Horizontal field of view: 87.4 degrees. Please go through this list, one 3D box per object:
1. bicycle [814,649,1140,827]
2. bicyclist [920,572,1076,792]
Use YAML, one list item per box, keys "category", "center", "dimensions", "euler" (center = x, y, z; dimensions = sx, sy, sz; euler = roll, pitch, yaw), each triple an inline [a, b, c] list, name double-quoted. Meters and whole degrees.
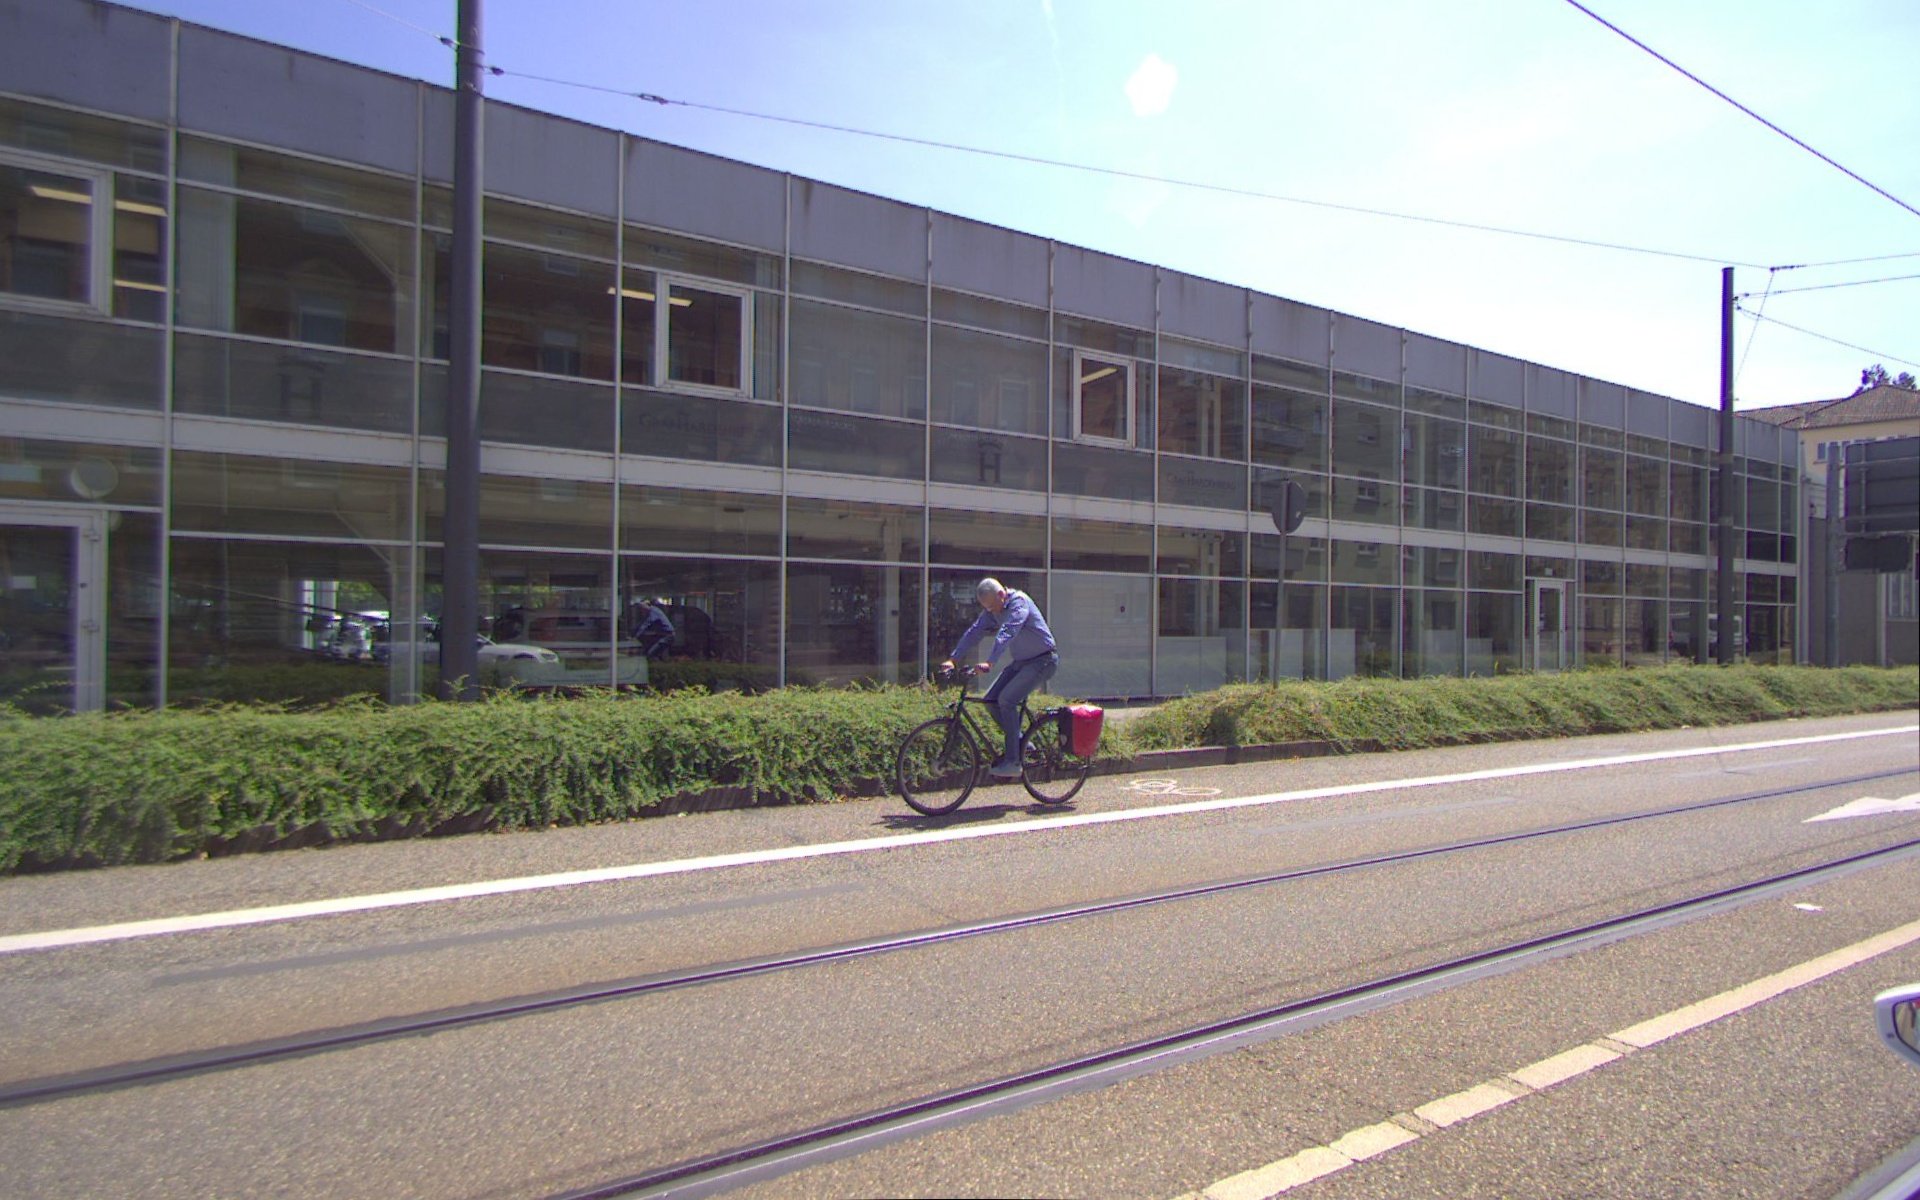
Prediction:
- category: "bicycle"
  center: [0.179, 0.969, 7.630]
  dimensions: [2.465, 1.160, 0.695]
  euler: [1, -1, -30]
- category: "bicyclist"
  center: [0.289, 0.601, 7.711]
  dimensions: [0.968, 1.569, 0.694]
  euler: [1, -1, -30]
